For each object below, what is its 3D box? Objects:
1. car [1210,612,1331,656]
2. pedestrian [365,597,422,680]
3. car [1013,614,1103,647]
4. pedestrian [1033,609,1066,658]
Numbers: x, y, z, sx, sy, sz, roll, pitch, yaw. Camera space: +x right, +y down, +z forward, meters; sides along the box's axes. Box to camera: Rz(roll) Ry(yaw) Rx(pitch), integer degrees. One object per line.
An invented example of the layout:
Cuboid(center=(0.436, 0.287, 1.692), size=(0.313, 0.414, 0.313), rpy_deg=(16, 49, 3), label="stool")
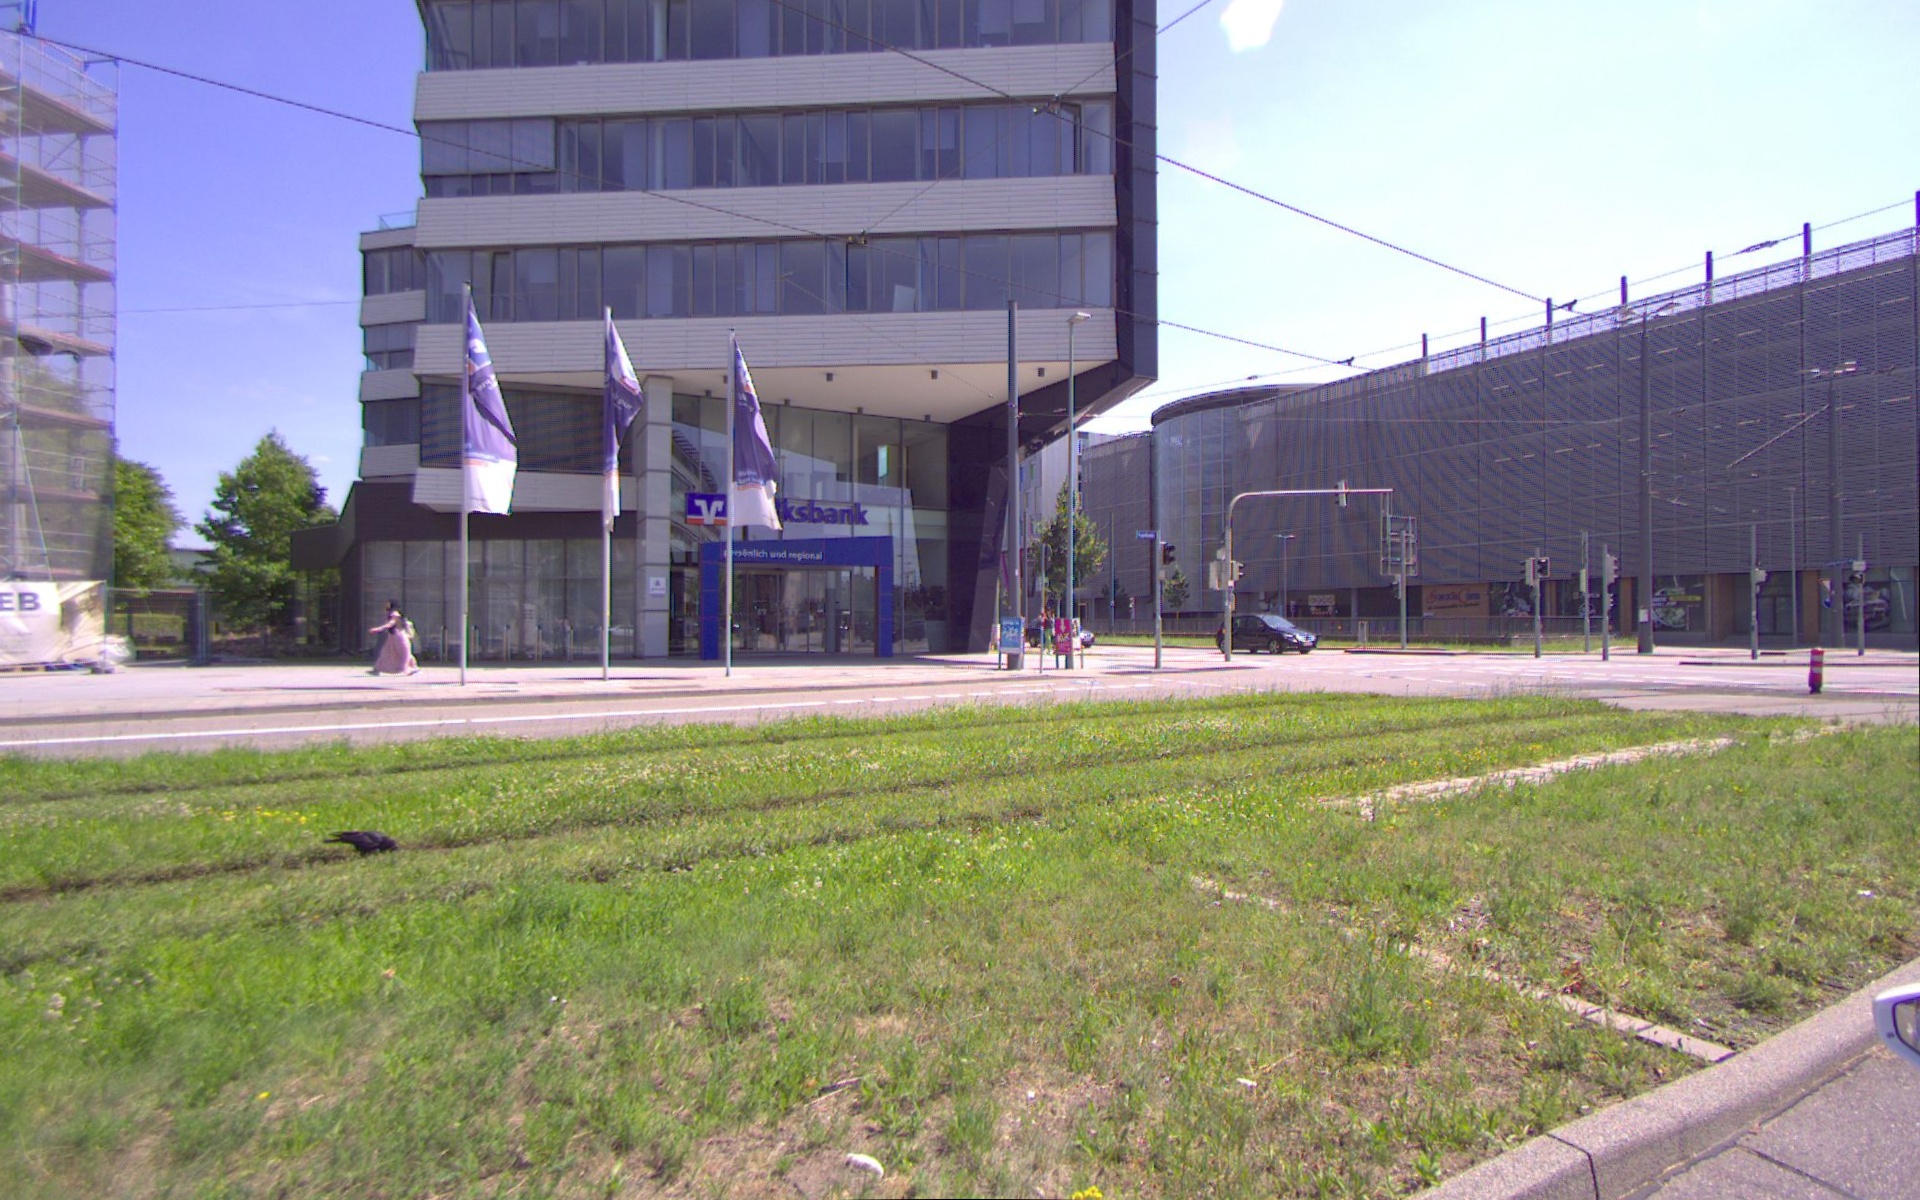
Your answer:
Cuboid(center=(12.151, 1.304, 39.586), size=(1.979, 1.574, 4.293), rpy_deg=(0, 0, -34), label="car")
Cuboid(center=(-11.722, 0.774, 20.790), size=(0.907, 1.652, 0.741), rpy_deg=(0, 0, -39), label="pedestrian")
Cuboid(center=(5.012, 1.532, 51.947), size=(1.980, 1.602, 4.822), rpy_deg=(0, 0, -36), label="car")
Cuboid(center=(3.258, 1.199, 36.564), size=(0.888, 1.770, 0.976), rpy_deg=(0, 0, 29), label="pedestrian")
